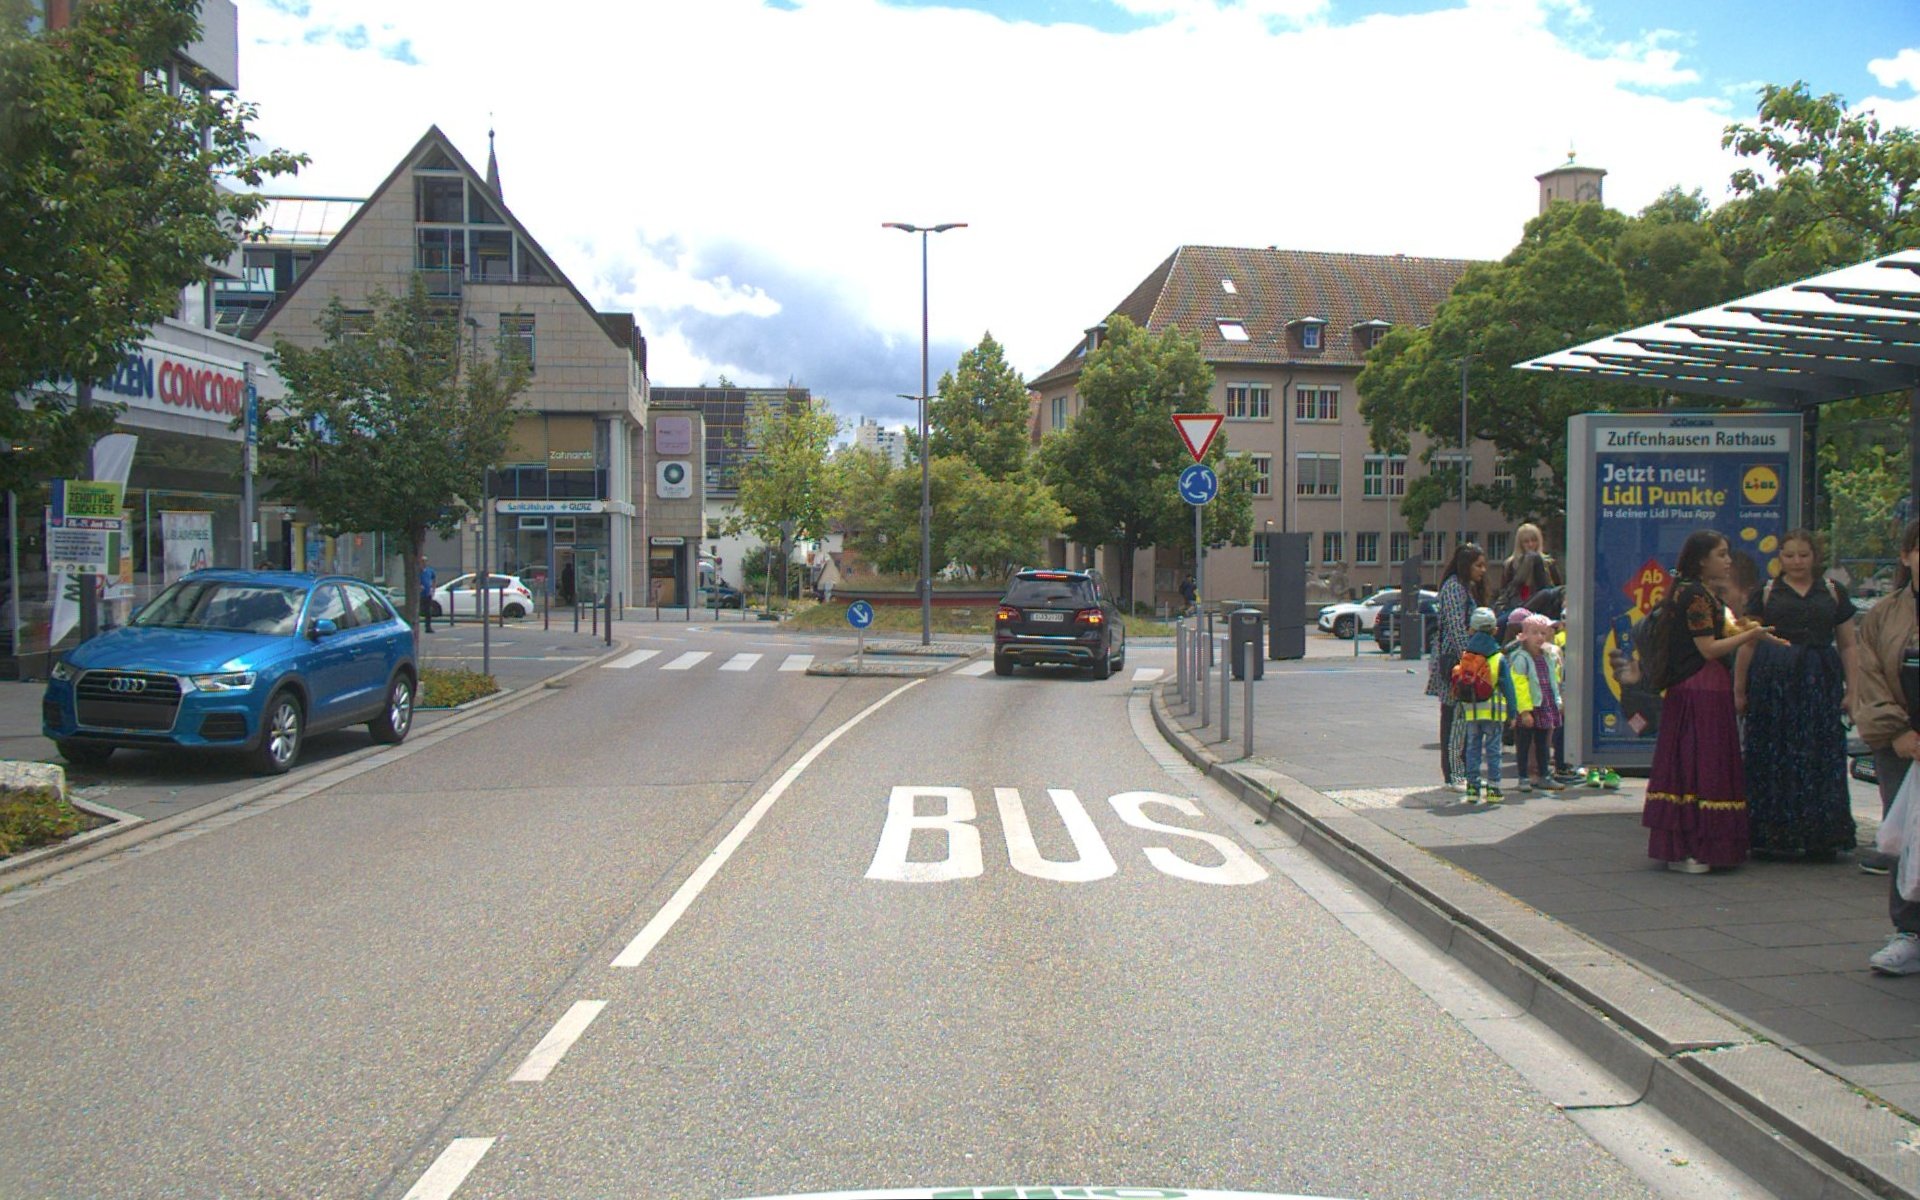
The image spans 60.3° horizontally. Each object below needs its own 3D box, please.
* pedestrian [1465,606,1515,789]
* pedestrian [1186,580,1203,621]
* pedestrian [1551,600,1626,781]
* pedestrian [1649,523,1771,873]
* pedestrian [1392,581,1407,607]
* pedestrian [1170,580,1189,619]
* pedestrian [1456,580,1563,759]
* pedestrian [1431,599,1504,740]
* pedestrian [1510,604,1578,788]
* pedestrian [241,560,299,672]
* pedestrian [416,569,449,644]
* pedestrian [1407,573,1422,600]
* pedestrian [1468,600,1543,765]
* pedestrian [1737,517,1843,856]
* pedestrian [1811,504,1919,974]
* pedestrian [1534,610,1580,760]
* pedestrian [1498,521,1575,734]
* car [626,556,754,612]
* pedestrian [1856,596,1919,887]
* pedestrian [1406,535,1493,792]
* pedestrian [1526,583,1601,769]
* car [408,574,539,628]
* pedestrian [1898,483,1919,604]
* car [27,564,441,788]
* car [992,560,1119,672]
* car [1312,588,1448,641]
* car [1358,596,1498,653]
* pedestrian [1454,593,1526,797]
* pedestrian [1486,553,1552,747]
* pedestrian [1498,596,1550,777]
[{"bbox_3d":[3.502,0.640,10.930,0.258,1.181,0.271,-2,0,14],"label":"pedestrian"},{"bbox_3d":[9.673,-0.001,68.156,0.561,1.636,0.437,3,5,26],"label":"pedestrian"},{"bbox_3d":[4.192,0.597,11.031,0.316,1.172,0.317,-2,0,-41],"label":"pedestrian"},{"bbox_3d":[3.566,0.445,7.852,0.486,1.593,0.501,-1,0,27],"label":"pedestrian"},{"bbox_3d":[20.416,-0.291,76.815,0.478,1.203,0.579,2,1,34],"label":"pedestrian"},{"bbox_3d":[9.086,-0.020,68.461,0.623,1.549,0.577,3,5,21],"label":"pedestrian"},{"bbox_3d":[4.231,0.531,12.745,0.428,1.326,0.592,-2,-1,-35],"label":"pedestrian"},{"bbox_3d":[4.402,0.596,14.344,0.467,1.192,0.389,-2,0,37],"label":"pedestrian"},{"bbox_3d":[3.820,0.619,10.819,0.291,1.172,0.293,-2,0,-3],"label":"pedestrian"},{"bbox_3d":[-10.199,0.232,24.453,0.575,1.616,0.638,1,0,-1],"label":"pedestrian"},{"bbox_3d":[-11.611,0.132,36.389,0.562,1.631,0.599,0,1,-33],"label":"pedestrian"},{"bbox_3d":[21.232,-0.617,77.256,0.478,1.243,0.579,2,1,34],"label":"pedestrian"},{"bbox_3d":[4.046,0.606,12.274,0.332,1.187,0.347,-2,-1,-33],"label":"pedestrian"},{"bbox_3d":[4.022,0.405,8.009,0.387,1.593,0.351,-1,0,36],"label":"pedestrian"},{"bbox_3d":[3.334,0.464,5.760,0.534,1.576,0.483,-1,0,43],"label":"pedestrian"},{"bbox_3d":[4.435,0.625,12.286,0.245,1.087,0.252,-2,0,9],"label":"pedestrian"},{"bbox_3d":[5.135,0.239,14.753,0.528,1.855,0.436,-2,0,11],"label":"pedestrian"},{"bbox_3d":[-14.003,-0.782,85.722,6.198,2.605,2.191,2,-3,-23],"label":"car"},{"bbox_3d":[4.256,0.603,7.112,0.370,1.232,0.632,-2,0,-7],"label":"pedestrian"},{"bbox_3d":[3.224,0.410,10.917,0.379,1.648,0.469,-2,0,1],"label":"pedestrian"},{"bbox_3d":[4.200,0.523,11.523,0.317,1.259,0.333,-3,0,-9],"label":"pedestrian"},{"bbox_3d":[-15.092,0.031,51.330,3.812,1.558,1.650,-1,0,-19],"label":"car"},{"bbox_3d":[12.331,-0.721,21.115,0.492,1.534,0.455,-1,1,8],"label":"pedestrian"},{"bbox_3d":[-6.213,0.570,14.772,1.659,1.627,4.332,3,0,1],"label":"car"},{"bbox_3d":[1.557,0.263,28.353,1.985,1.757,4.433,1,0,1],"label":"car"},{"bbox_3d":[13.536,0.468,53.432,4.164,1.604,1.851,-1,0,14],"label":"car"},{"bbox_3d":[12.302,0.618,43.391,3.795,1.407,1.593,0,1,-37],"label":"car"},{"bbox_3d":[3.341,0.586,10.414,0.394,1.247,0.388,-1,0,21],"label":"pedestrian"},{"bbox_3d":[4.543,0.401,13.463,0.381,1.543,0.390,-2,0,5],"label":"pedestrian"},{"bbox_3d":[3.788,0.575,11.112,0.246,1.194,0.251,-2,0,8],"label":"pedestrian"}]
